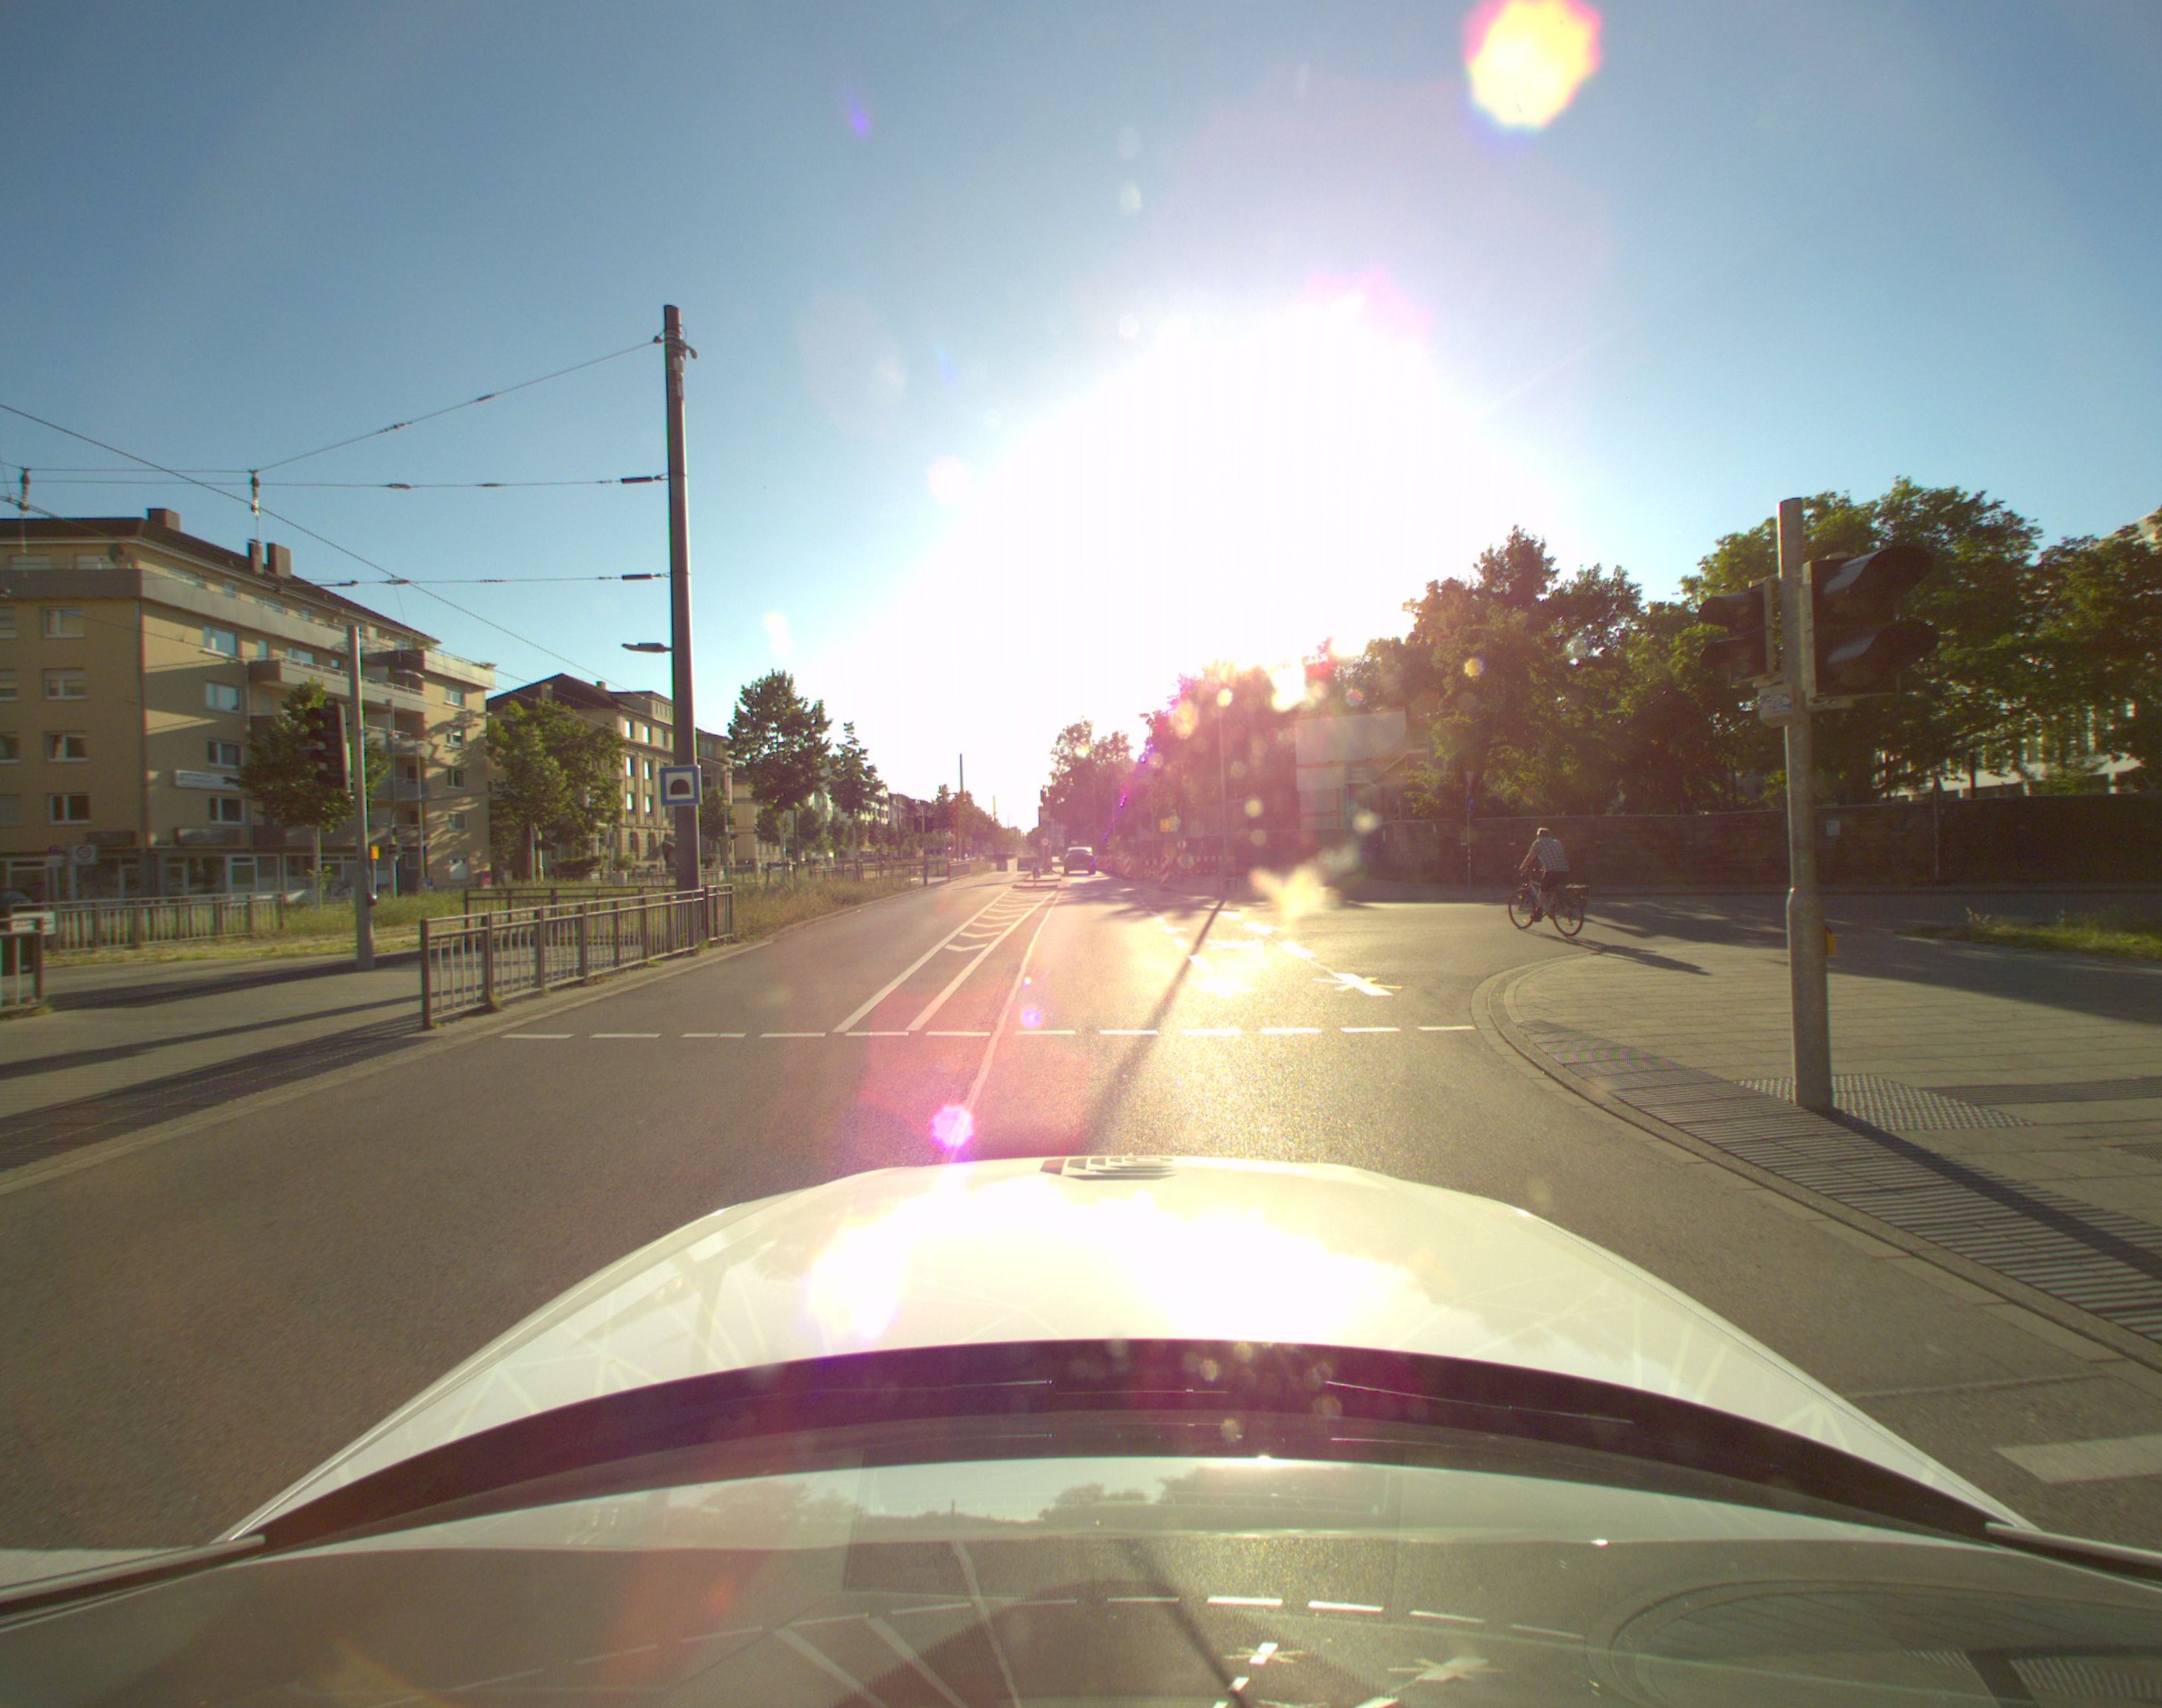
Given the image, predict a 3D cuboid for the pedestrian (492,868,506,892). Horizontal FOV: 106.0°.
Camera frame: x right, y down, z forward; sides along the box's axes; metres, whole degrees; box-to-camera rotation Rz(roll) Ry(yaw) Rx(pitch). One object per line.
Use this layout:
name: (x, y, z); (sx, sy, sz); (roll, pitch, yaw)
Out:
pedestrian: (-38.540, 1.696, 53.919); (0.518, 1.555, 0.448); (-2, 0, -3)

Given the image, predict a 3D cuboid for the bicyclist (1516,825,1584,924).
bicyclist: (7.997, 0.336, 13.918); (0.582, 1.614, 0.902); (-2, 0, -3)

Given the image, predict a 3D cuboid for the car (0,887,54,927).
car: (-44.474, 2.194, 32.671); (3.978, 1.496, 1.845); (-2, 0, -4)

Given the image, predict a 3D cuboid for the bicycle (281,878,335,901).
bicycle: (-42.436, 1.912, 44.746); (0.529, 1.137, 2.583); (-2, 0, -2)

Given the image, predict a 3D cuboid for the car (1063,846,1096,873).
car: (-0.130, 0.342, 52.495); (2.000, 1.659, 3.996); (0, 0, -3)

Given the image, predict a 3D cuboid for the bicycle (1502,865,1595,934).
bicycle: (7.969, 0.742, 13.990); (0.426, 1.061, 1.910); (-2, 0, -2)

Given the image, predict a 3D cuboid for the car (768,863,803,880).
car: (-27.713, 1.600, 76.571); (1.772, 1.463, 4.657); (-1, 0, -3)
